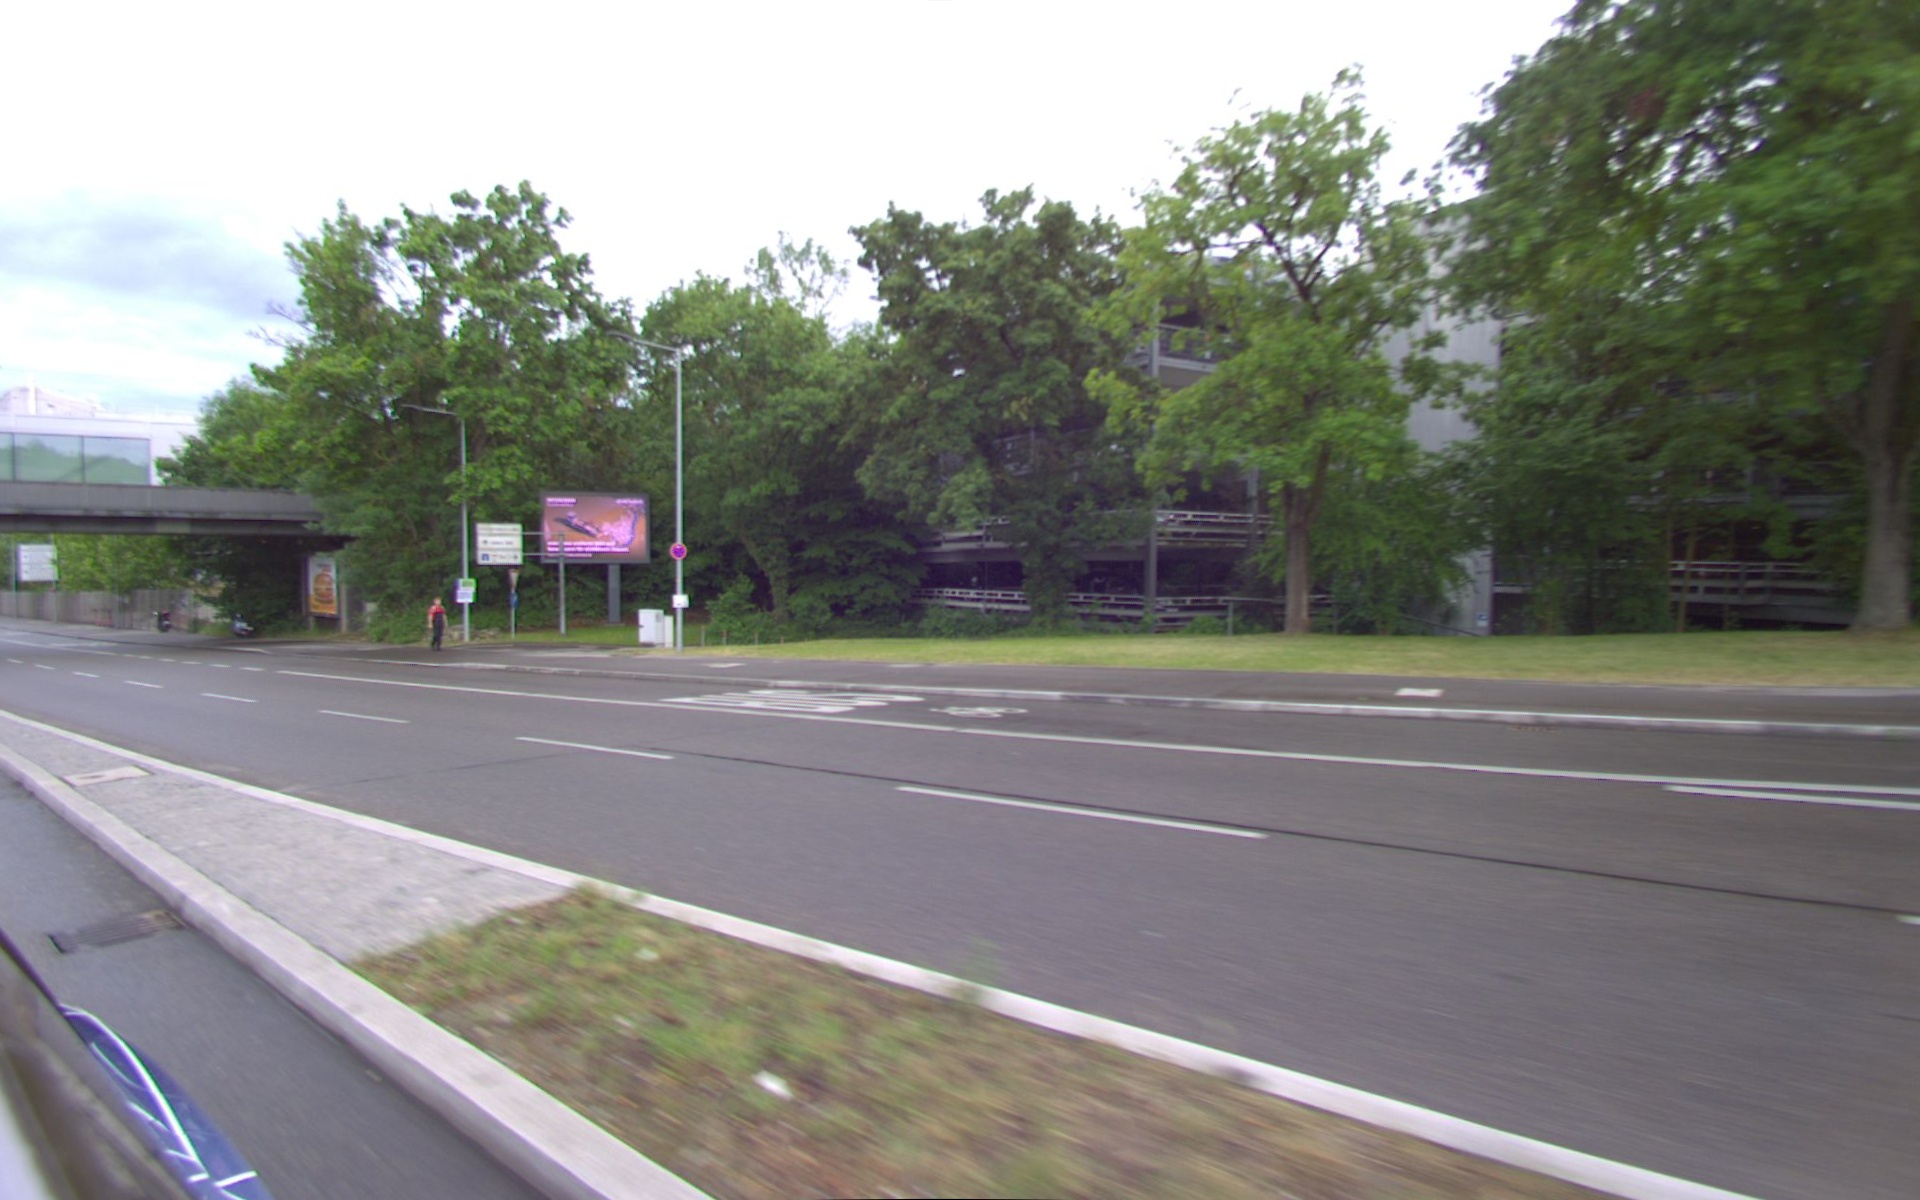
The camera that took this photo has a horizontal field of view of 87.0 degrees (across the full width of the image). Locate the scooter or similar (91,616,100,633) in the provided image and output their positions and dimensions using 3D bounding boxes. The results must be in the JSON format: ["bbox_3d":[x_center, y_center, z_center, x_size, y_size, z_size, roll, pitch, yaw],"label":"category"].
[{"bbox_3d":[-63.728,1.794,74.559,1.307,1.227,0.308,-1,0,41],"label":"scooter or similar"}]

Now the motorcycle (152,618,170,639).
[{"bbox_3d":[-48.007,1.725,60.779,1.995,1.214,0.464,-1,0,41],"label":"motorcycle"}]

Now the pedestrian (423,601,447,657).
[{"bbox_3d":[-17.629,0.972,33.960,0.513,1.829,0.801,-2,1,-39],"label":"pedestrian"}]

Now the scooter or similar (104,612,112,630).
[{"bbox_3d":[-60.043,1.493,71.303,0.308,1.227,1.309,-1,0,-44],"label":"scooter or similar"}]

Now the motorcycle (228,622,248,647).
[{"bbox_3d":[-35.462,1.692,49.703,1.933,1.167,0.463,-1,0,44],"label":"motorcycle"}]

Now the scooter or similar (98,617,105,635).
[{"bbox_3d":[-61.853,1.868,72.904,0.307,1.227,1.310,-1,0,-37],"label":"scooter or similar"}]
